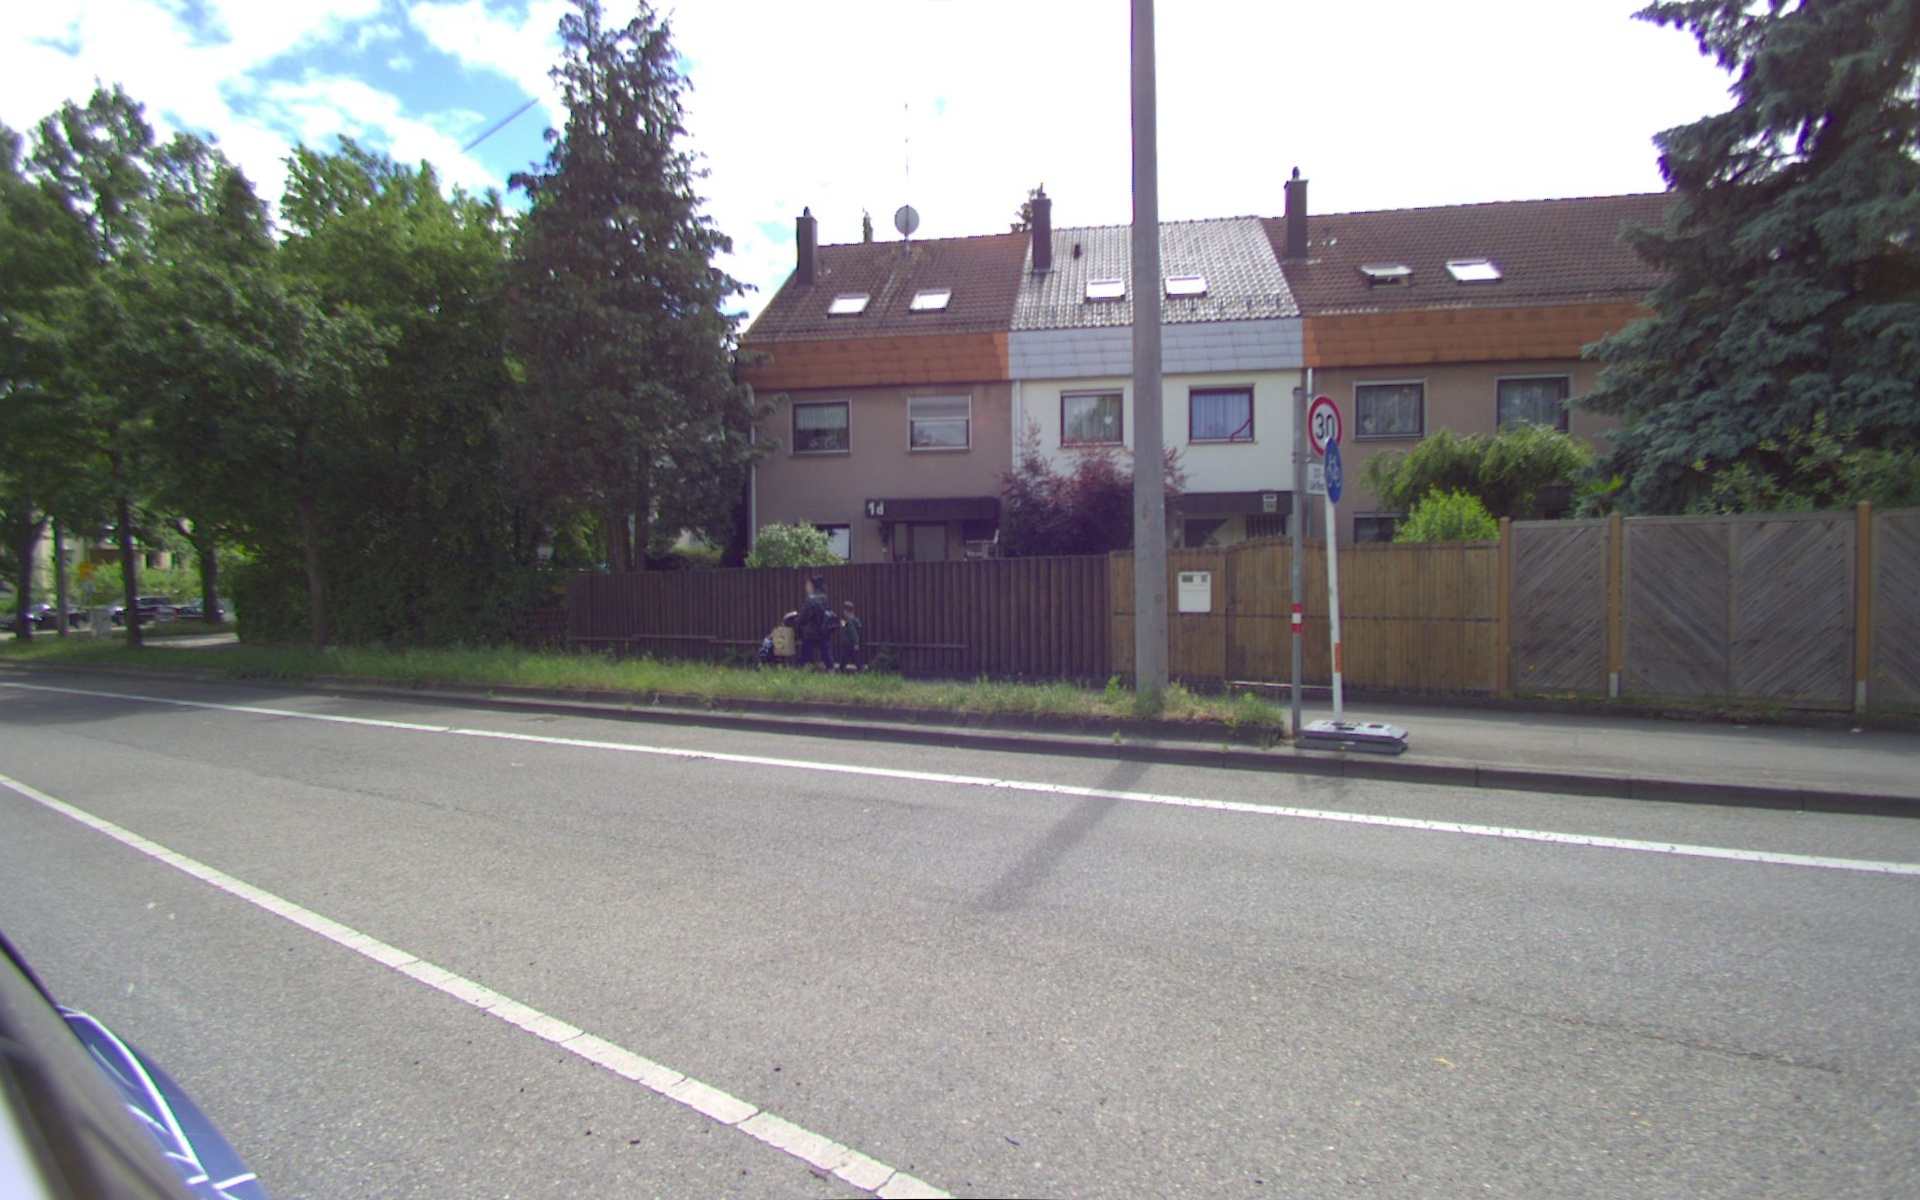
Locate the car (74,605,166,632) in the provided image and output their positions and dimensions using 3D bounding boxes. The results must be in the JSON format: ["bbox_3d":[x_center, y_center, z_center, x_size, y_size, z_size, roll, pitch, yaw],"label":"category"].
[{"bbox_3d":[-51.324,1.107,61.930,1.979,1.519,3.987,-1,1,11],"label":"car"}]

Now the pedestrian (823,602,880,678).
[{"bbox_3d":[-1.641,0.593,15.297,0.640,1.094,0.549,-1,1,37],"label":"pedestrian"}]

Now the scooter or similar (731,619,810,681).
[{"bbox_3d":[-2.856,0.730,15.207,1.029,0.871,0.630,-1,1,38],"label":"scooter or similar"}]

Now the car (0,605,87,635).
[{"bbox_3d":[-51.974,1.113,56.958,1.977,1.519,3.989,-1,1,9],"label":"car"}]

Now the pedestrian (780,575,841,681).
[{"bbox_3d":[-2.174,0.398,14.710,0.640,1.492,0.549,-1,1,37],"label":"pedestrian"}]
